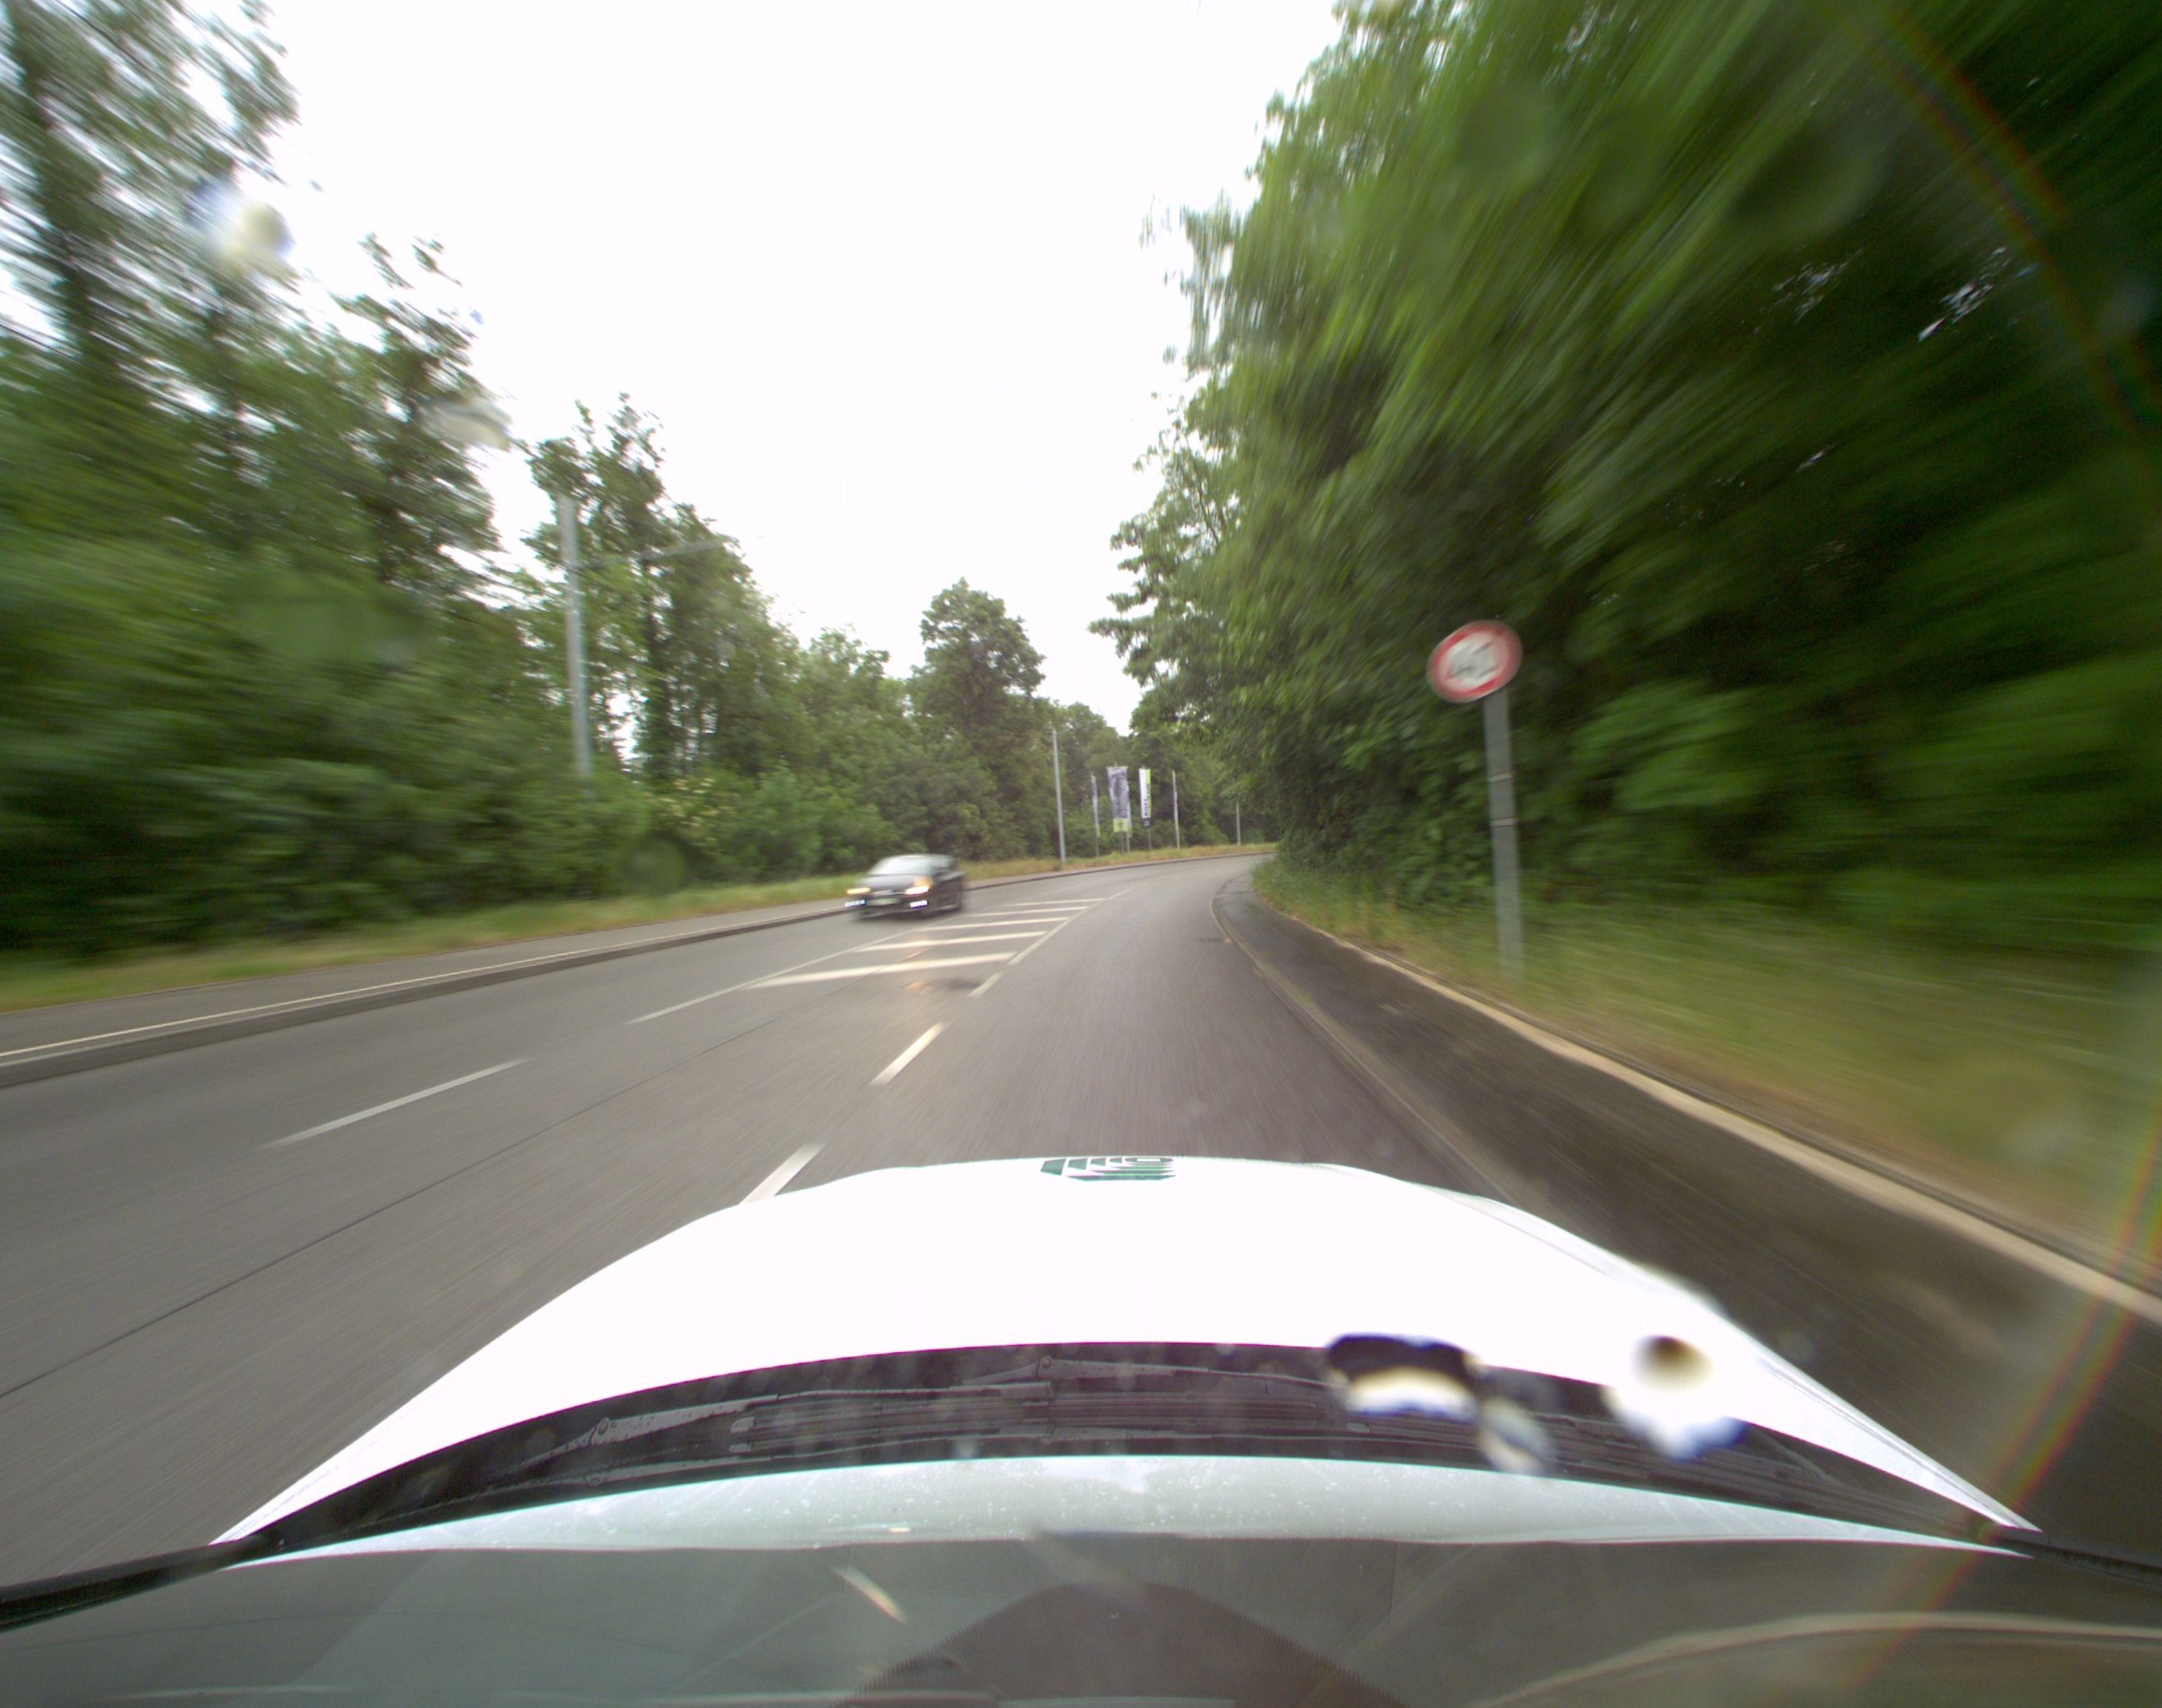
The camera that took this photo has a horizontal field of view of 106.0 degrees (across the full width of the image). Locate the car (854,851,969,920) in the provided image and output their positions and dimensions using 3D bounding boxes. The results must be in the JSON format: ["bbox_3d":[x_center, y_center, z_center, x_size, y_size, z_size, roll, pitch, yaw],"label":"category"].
[{"bbox_3d":[-3.942,0.667,19.591,1.586,1.477,3.799,0,0,6],"label":"car"}]
